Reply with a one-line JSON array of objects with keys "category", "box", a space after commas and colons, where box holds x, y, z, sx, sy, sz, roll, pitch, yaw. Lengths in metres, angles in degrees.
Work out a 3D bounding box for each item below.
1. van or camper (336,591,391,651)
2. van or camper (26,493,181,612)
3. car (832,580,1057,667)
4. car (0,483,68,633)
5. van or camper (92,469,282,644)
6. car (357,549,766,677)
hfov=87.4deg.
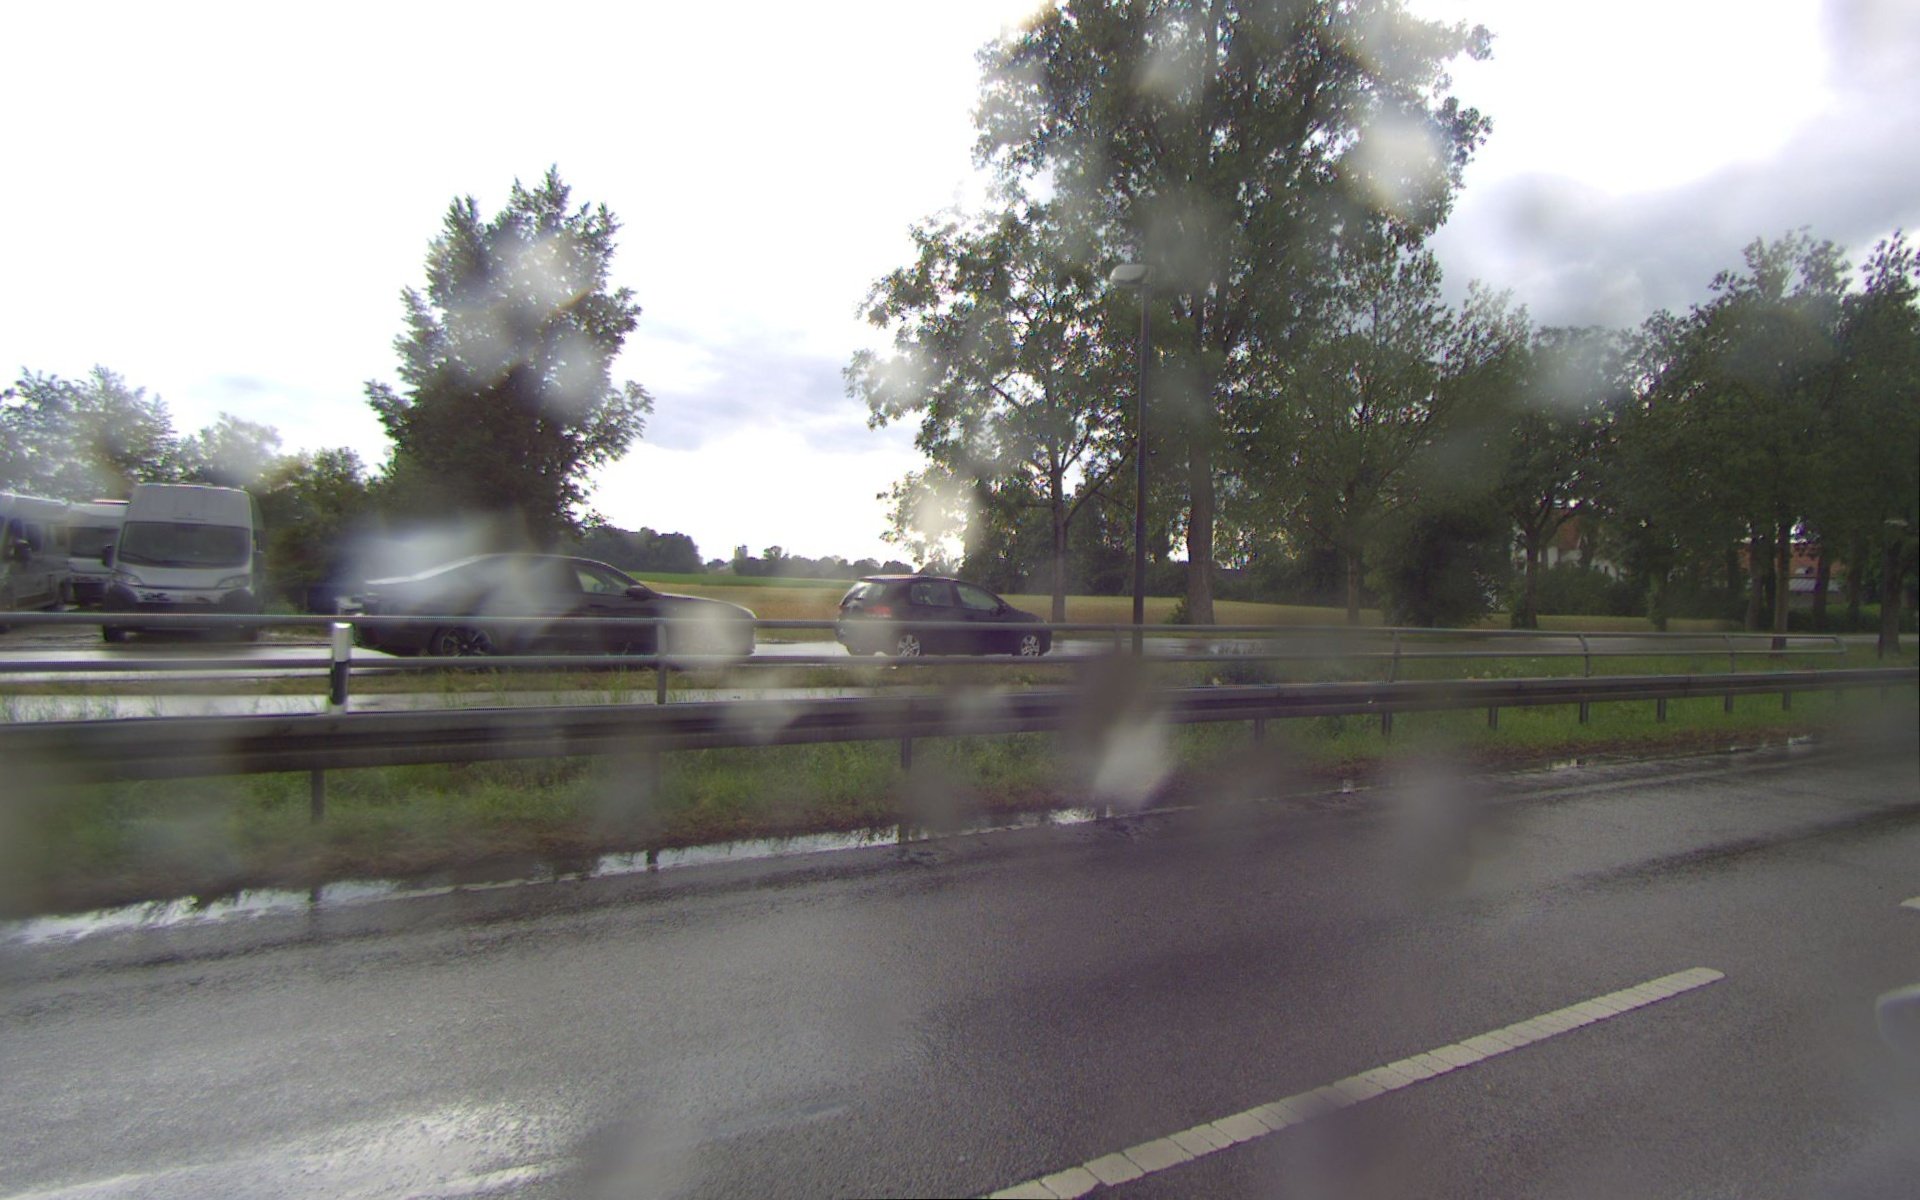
[{"category": "van or camper", "box": [-30.500, 1.015, 51.413, 2.296, 2.713, 5.844, 1, 2, -31]}, {"category": "van or camper", "box": [-21.530, -1.170, 25.524, 1.977, 2.625, 5.775, 1, 2, -30]}, {"category": "car", "box": [-0.210, 0.392, 17.565, 3.858, 1.349, 1.274, 1, 3, -35]}, {"category": "car", "box": [-18.008, -0.798, 18.145, 1.978, 2.492, 5.063, 1, 2, -32]}, {"category": "van or camper", "box": [-14.082, -0.771, 18.673, 2.057, 2.713, 5.844, 1, 2, -31]}, {"category": "car", "box": [-5.364, 0.166, 13.932, 5.070, 1.511, 1.505, 1, 2, -35]}]
